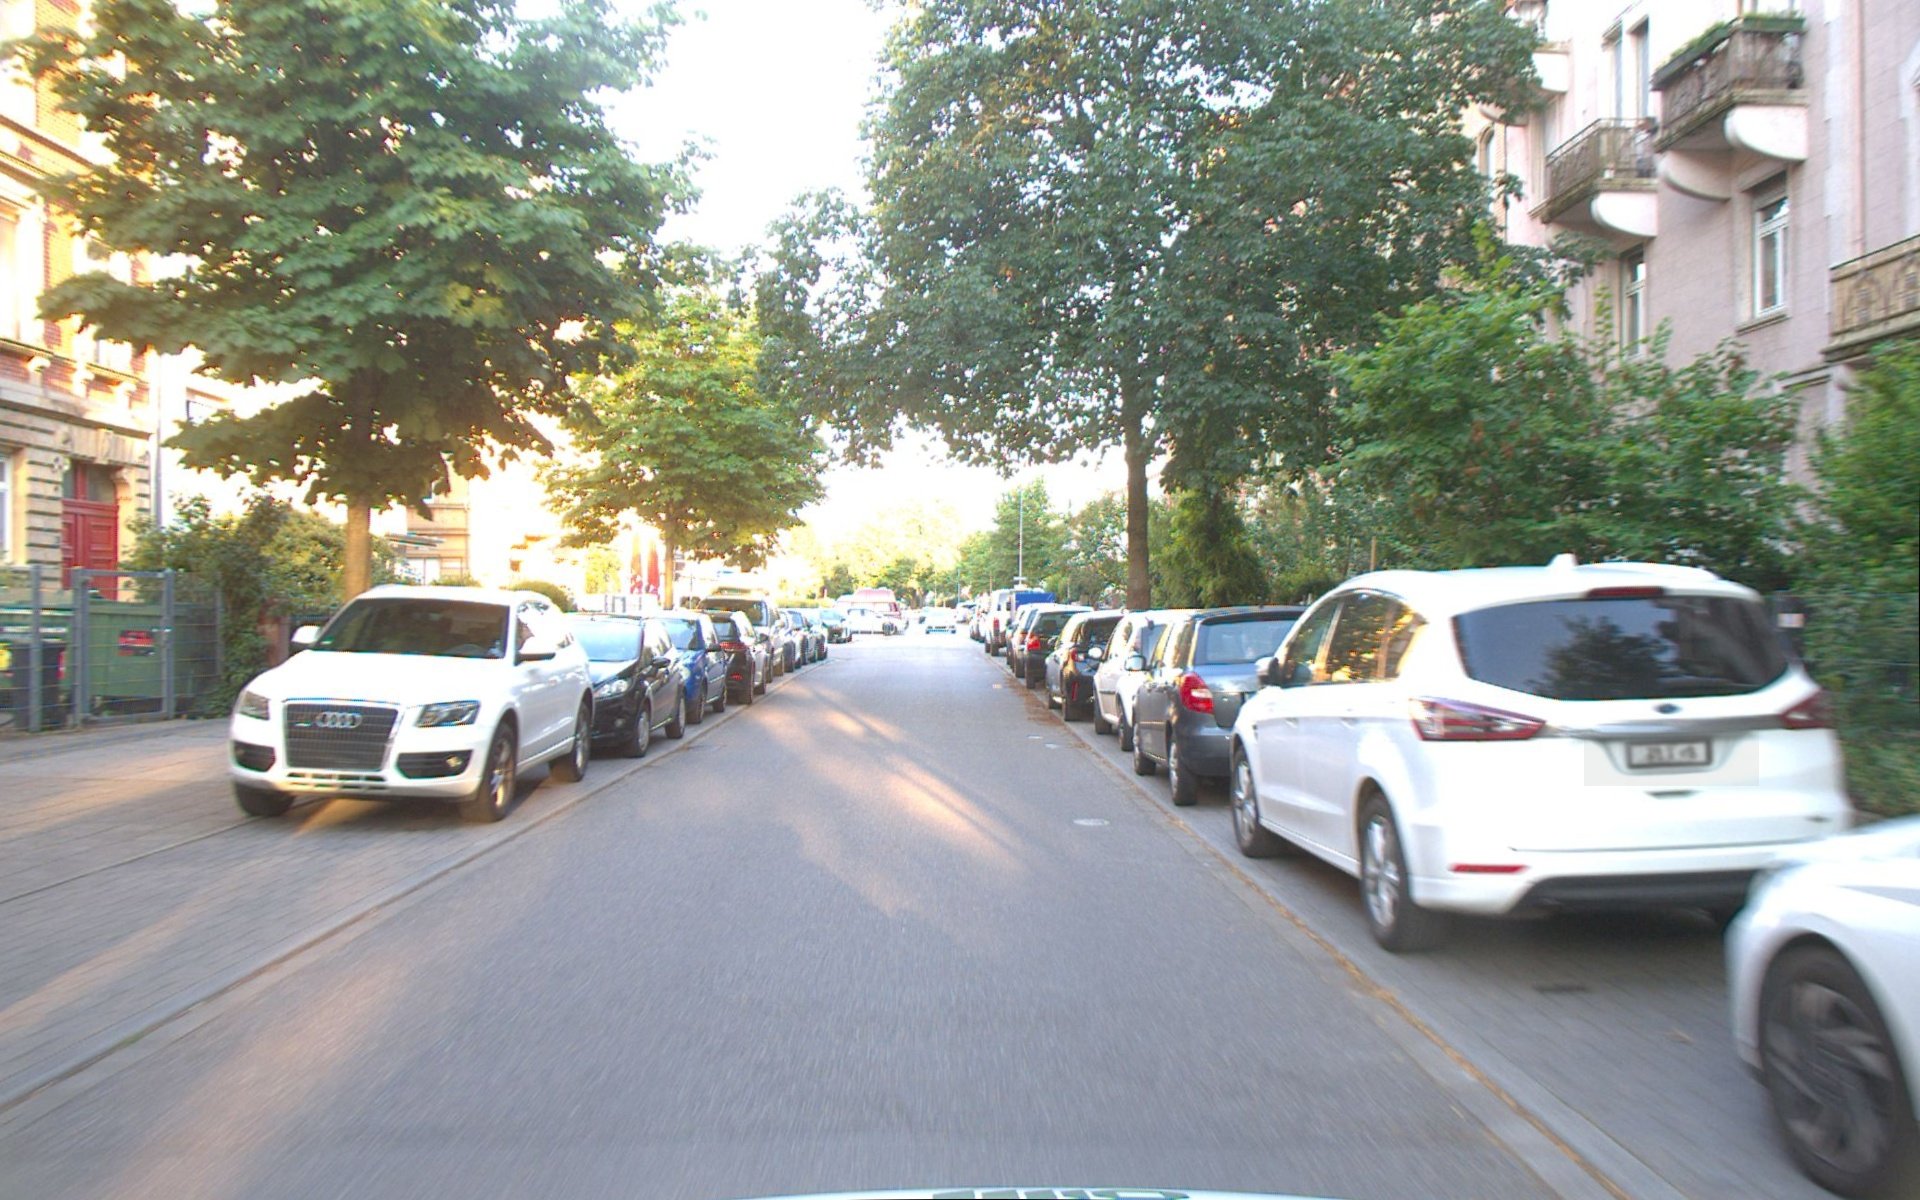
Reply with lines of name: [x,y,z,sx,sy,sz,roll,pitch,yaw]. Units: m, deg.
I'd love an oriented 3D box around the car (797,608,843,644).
car: [-5.996,1.110,71.373,1.680,1.512,3.630,0,-1,0]

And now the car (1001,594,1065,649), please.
car: [2.095,0.609,48.268,1.508,1.548,3.429,0,-1,-4]

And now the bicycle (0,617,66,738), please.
bicycle: [-10.878,0.766,17.522,2.475,1.213,0.644,3,0,5]

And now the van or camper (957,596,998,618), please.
van or camper: [2.265,0.864,216.851,5.171,2.840,1.547,0,0,-12]

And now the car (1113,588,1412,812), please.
car: [2.418,0.752,14.245,1.653,1.634,4.207,0,-1,-2]

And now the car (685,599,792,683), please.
car: [-4.506,0.793,34.247,1.681,1.624,4.518,0,0,-1]

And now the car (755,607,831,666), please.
car: [-4.356,0.923,43.608,1.681,1.466,3.629,0,0,-1]

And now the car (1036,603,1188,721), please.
car: [2.076,0.826,23.664,1.653,1.466,4.208,-2,-1,-1]

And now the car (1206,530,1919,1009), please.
car: [2.617,0.641,8.433,1.762,1.741,4.597,-1,-1,-4]

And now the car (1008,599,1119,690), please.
car: [1.916,0.817,31.751,1.653,1.634,3.937,0,-1,-4]

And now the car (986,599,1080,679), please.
car: [1.530,0.813,35.868,1.653,1.634,3.937,0,-1,-4]

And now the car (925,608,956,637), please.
car: [-1.149,1.314,96.410,1.776,1.624,3.482,0,0,-1]

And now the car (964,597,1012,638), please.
car: [1.130,0.716,67.742,1.653,1.634,3.937,0,-1,-4]

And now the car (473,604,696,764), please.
car: [-4.051,0.869,18.425,1.681,1.594,3.780,0,-1,-1]

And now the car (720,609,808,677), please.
car: [-4.592,0.980,39.215,1.681,1.490,3.986,0,0,-1]

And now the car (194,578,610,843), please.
car: [-4.161,0.727,13.171,1.882,1.747,4.426,0,0,-1]

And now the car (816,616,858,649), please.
car: [-5.694,1.503,77.000,1.680,1.466,3.630,0,0,0]

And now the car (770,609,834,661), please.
car: [-4.666,1.021,49.207,1.566,1.466,3.837,0,0,0]

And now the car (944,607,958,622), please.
car: [-1.045,1.677,191.418,1.681,1.624,3.482,0,0,-1]

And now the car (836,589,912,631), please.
car: [-4.875,0.549,94.254,4.263,2.359,1.744,0,0,-3]

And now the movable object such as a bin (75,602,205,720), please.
movable object such as a bin: [-9.894,0.713,19.991,0.991,1.344,1.005,2,0,4]

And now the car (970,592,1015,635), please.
car: [1.385,0.610,72.427,1.653,1.843,3.937,0,-1,-4]

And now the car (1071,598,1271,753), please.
car: [2.361,0.814,19.351,1.653,1.634,3.746,0,-1,-4]

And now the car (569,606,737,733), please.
car: [-4.160,0.885,22.923,1.681,1.594,3.787,0,0,-1]

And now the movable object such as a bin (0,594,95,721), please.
movable object such as a bin: [-11.103,0.675,19.798,1.078,1.439,1.001,2,0,-15]

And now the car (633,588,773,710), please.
car: [-4.086,0.725,26.832,1.681,1.821,4.214,0,0,-1]

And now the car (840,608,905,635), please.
car: [-4.872,1.201,91.656,3.548,1.487,1.605,0,0,-5]

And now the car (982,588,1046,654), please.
car: [1.655,0.655,51.984,1.647,1.975,3.877,0,-1,-4]
